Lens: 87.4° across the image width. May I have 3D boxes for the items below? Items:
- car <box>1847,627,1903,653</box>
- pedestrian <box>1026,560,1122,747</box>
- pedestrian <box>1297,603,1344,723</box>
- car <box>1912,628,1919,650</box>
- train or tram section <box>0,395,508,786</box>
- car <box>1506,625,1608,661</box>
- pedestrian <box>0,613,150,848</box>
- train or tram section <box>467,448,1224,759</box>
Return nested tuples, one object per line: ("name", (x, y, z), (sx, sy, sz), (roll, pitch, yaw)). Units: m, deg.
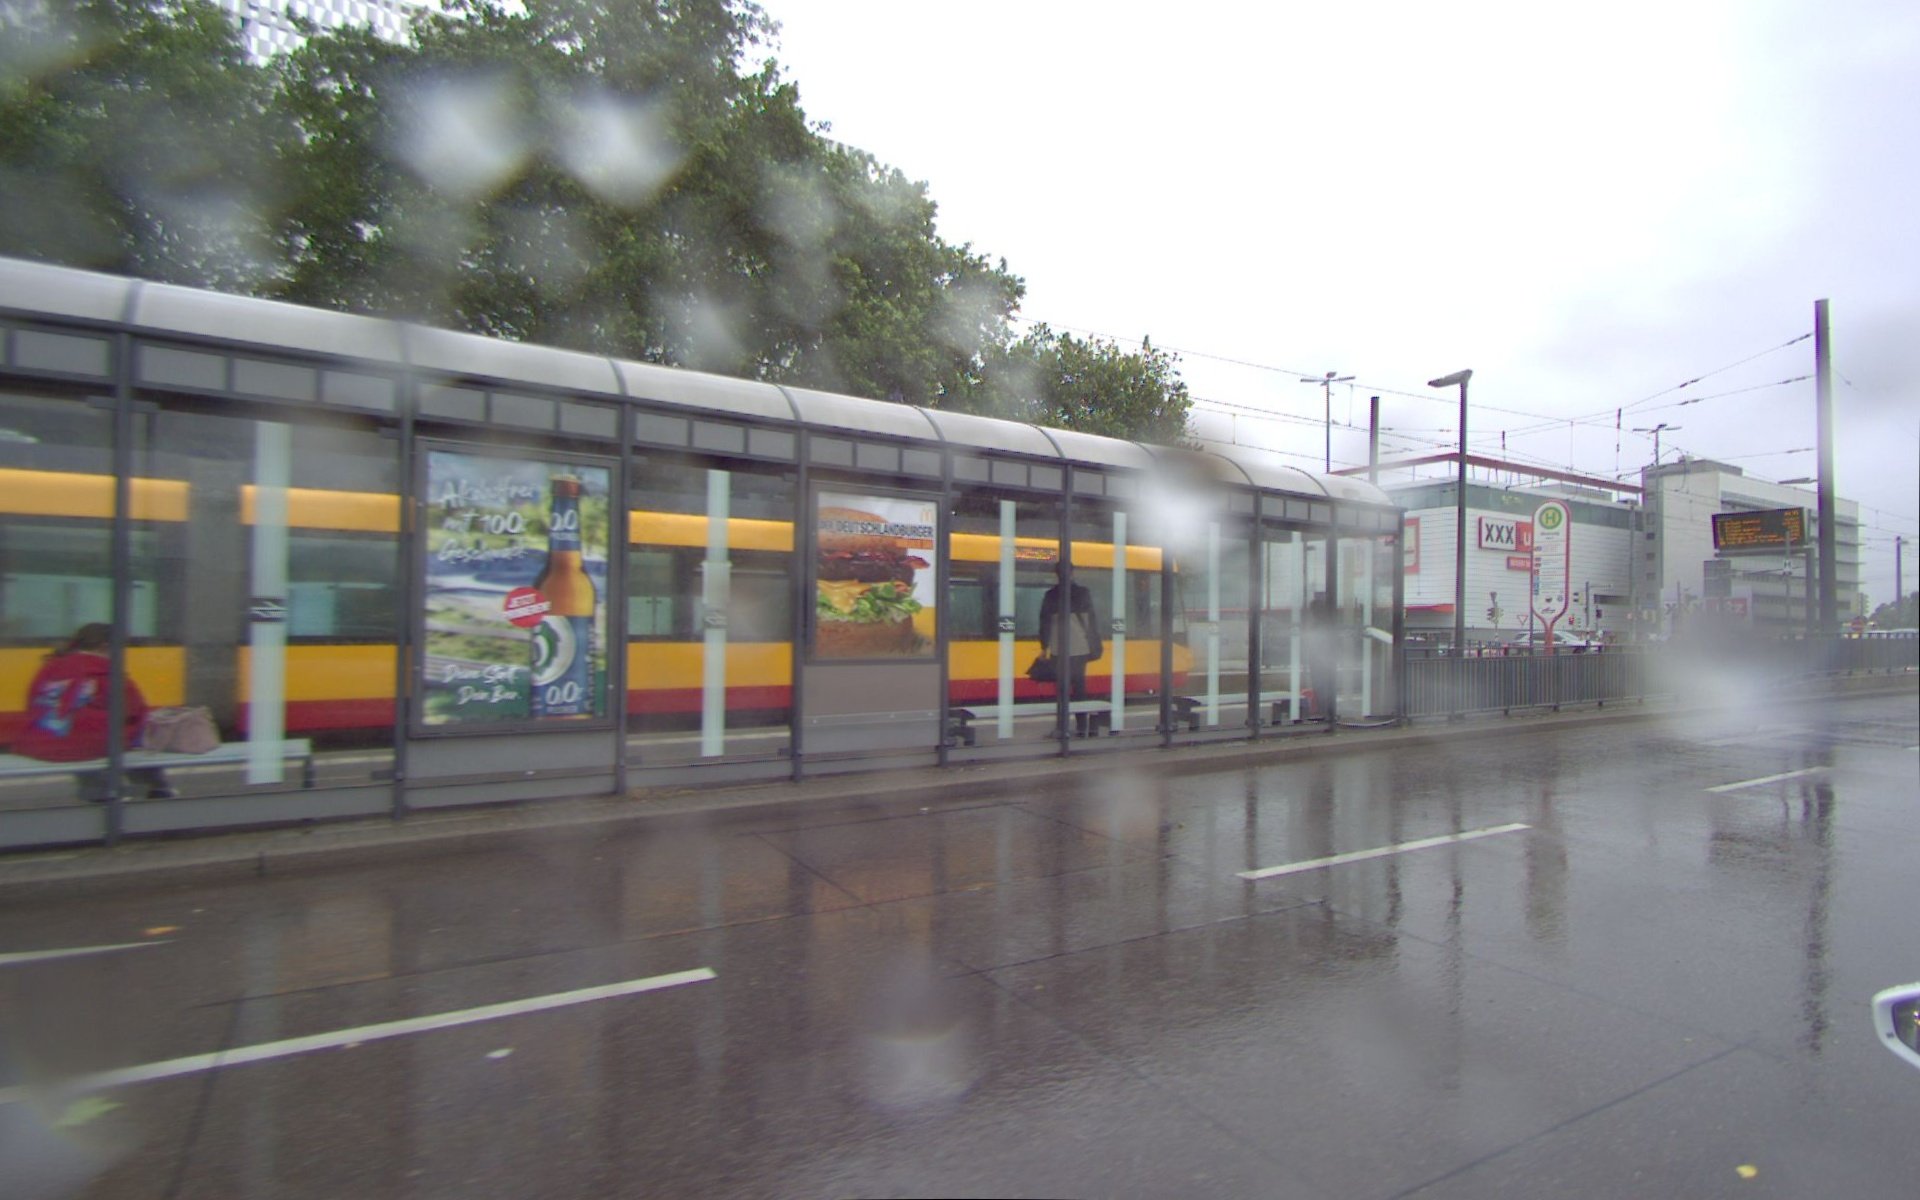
("car", (57.261, 2.481, 62.832), (3.769, 1.445, 1.700), (3, 0, -34))
("pedestrian", (1.190, 0.550, 10.606), (0.760, 1.896, 0.654), (2, 0, -17))
("pedestrian", (4.676, 0.812, 13.026), (0.410, 1.513, 0.319), (2, 0, -28))
("car", (68.044, 2.786, 70.096), (3.531, 1.445, 1.550), (3, 0, -34))
("train or tram section", (-13.049, -0.205, 9.680), (15.413, 3.849, 3.717), (2, 0, -35))
("car", (32.918, 2.351, 55.446), (1.937, 1.684, 4.414), (3, 0, -38))
("pedestrian", (-4.972, 0.711, 5.662), (0.459, 1.252, 0.457), (2, -1, -19))
("train or tram section", (-1.216, 0.214, 17.844), (13.120, 3.890, 3.717), (2, 0, -35))
